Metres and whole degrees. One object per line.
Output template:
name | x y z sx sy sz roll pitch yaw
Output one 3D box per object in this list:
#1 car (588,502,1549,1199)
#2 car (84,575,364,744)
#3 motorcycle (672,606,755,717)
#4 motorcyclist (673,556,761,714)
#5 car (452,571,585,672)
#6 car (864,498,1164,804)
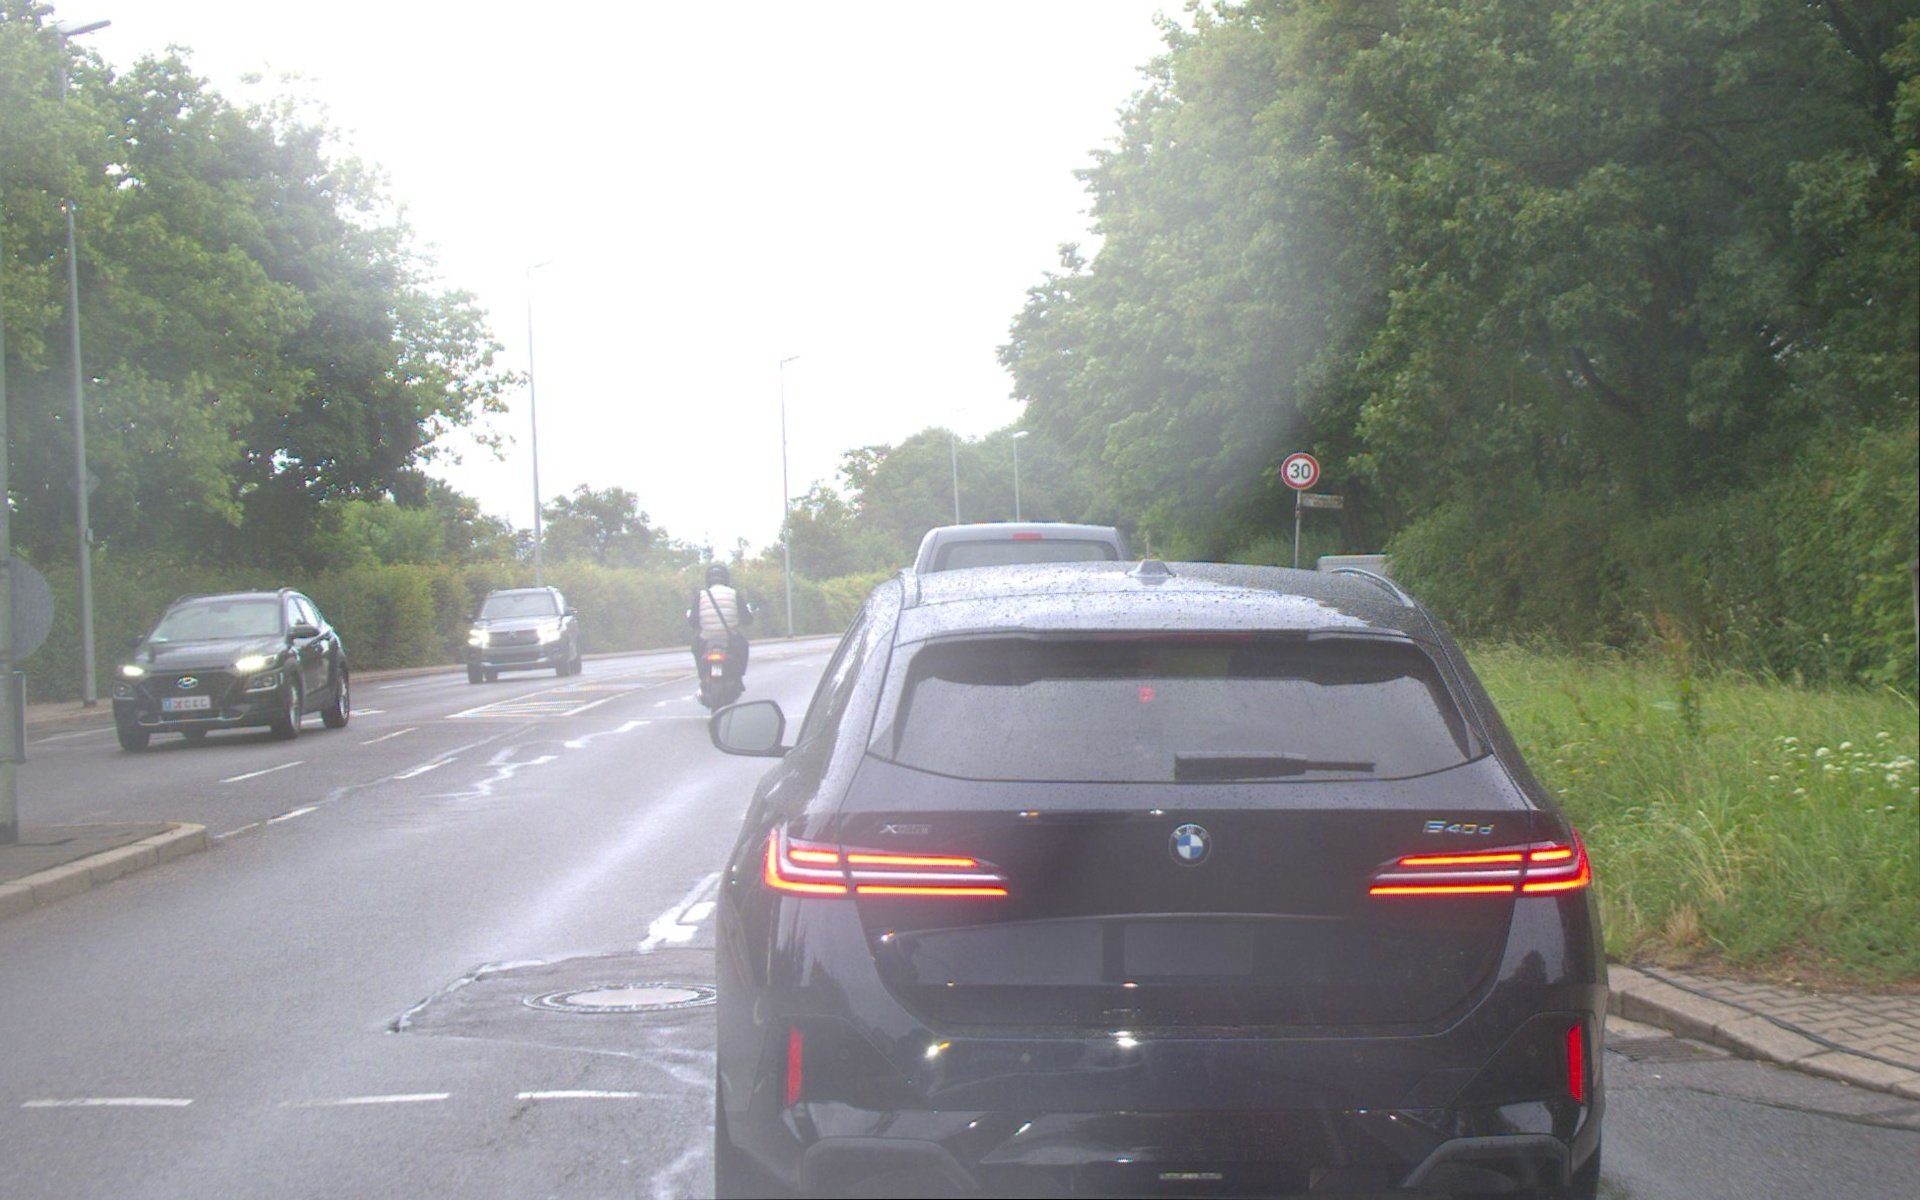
car | 0.235 0.579 8.250 1.764 1.531 3.673 -1 1 1
car | -7.662 0.580 36.175 2.025 1.558 3.877 -3 1 0
motorcycle | -2.618 0.643 36.626 0.741 1.115 1.426 -1 1 1
motorcyclist | -2.592 0.371 36.644 0.845 1.641 0.468 -2 1 1
car | -7.691 0.344 60.169 1.795 1.597 3.732 -3 1 -1
car | 0.361 0.251 22.671 1.767 1.803 3.905 -1 2 1
